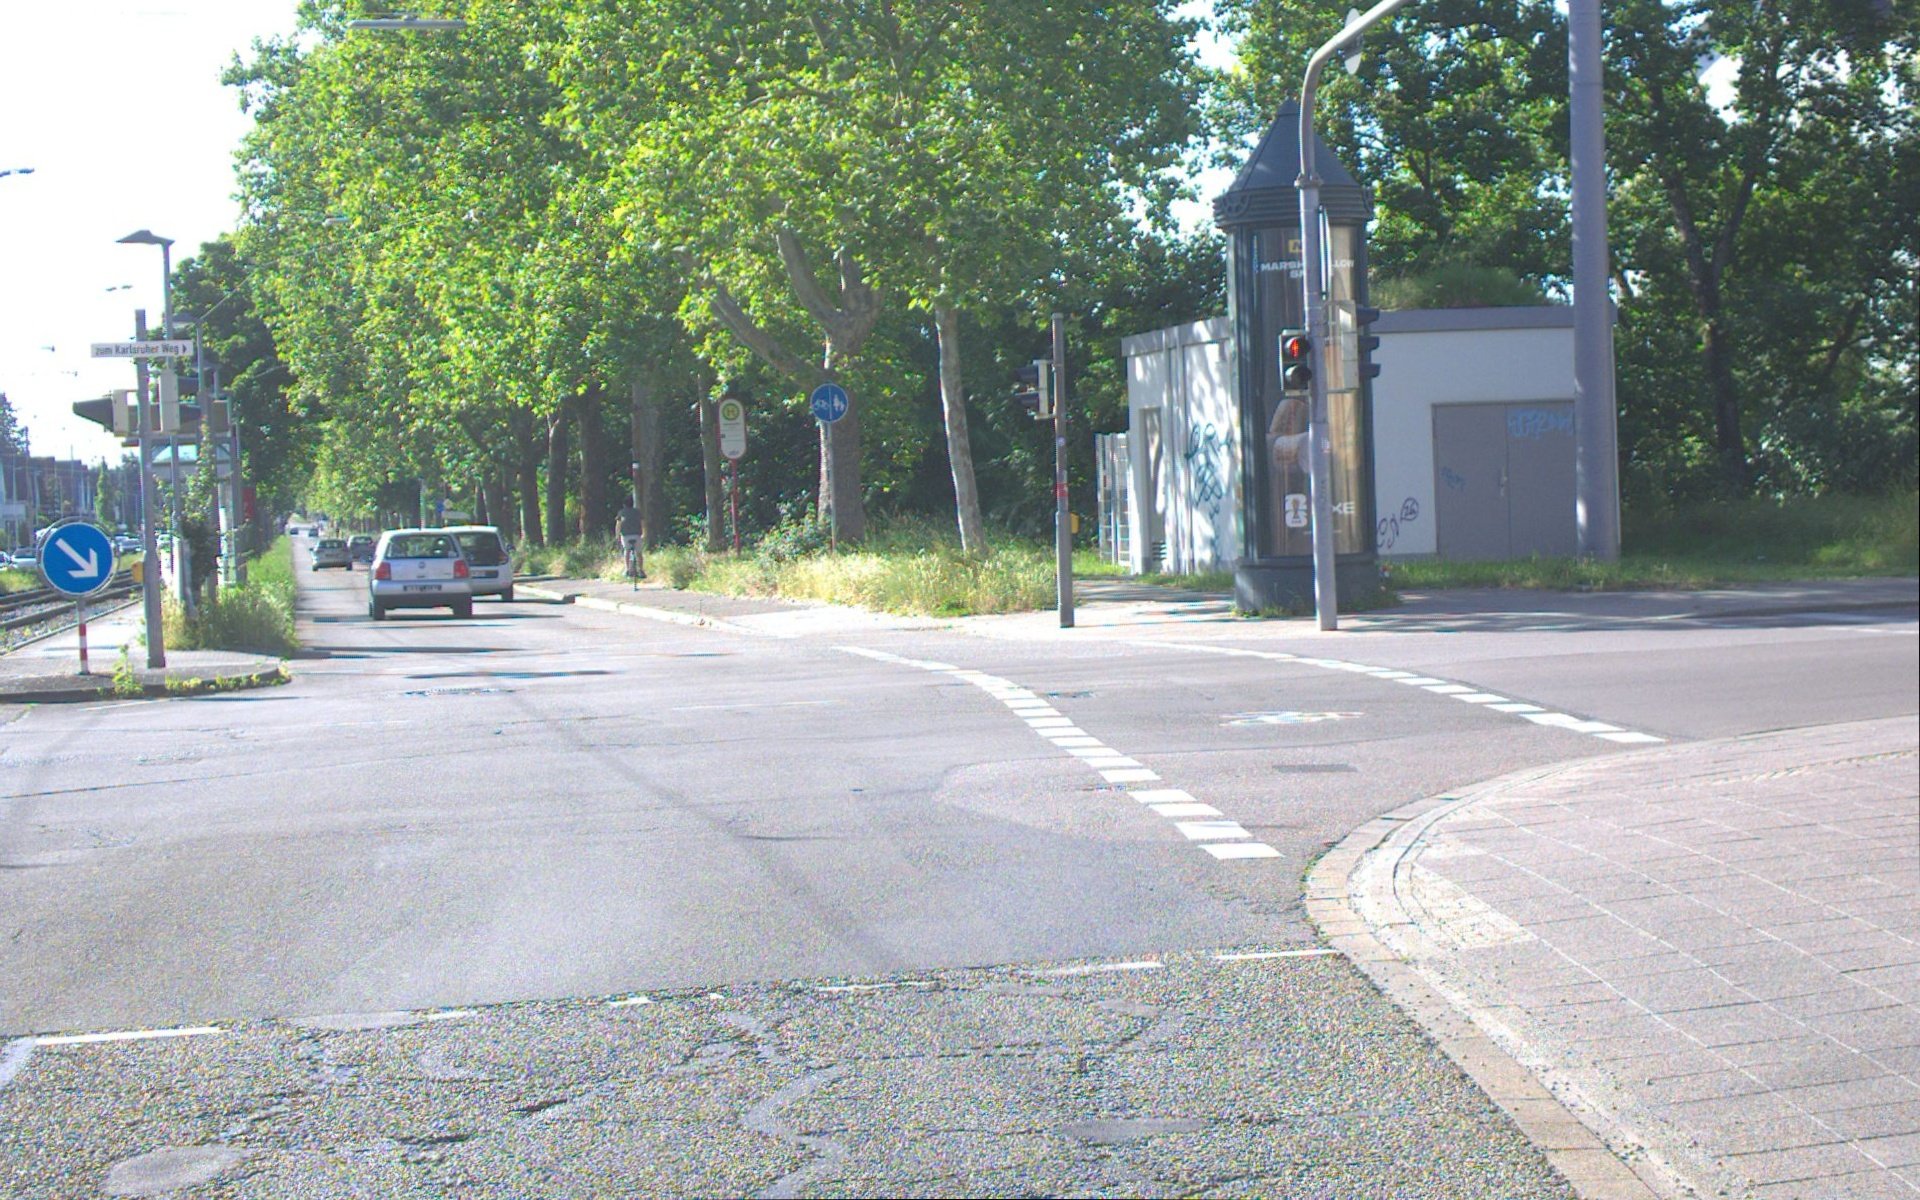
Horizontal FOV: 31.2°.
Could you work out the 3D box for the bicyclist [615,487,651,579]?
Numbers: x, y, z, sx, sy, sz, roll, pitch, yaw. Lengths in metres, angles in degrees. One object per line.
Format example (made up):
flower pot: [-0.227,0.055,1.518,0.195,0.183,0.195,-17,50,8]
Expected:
bicyclist: [-6.401,-1.314,67.297,0.534,1.763,0.713,-3,1,-13]

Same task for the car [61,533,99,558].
car: [-52.986,-3.283,206.989,1.993,1.464,4.378,-2,1,-12]

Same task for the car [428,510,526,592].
car: [-9.887,-1.023,70.160,1.750,1.599,3.751,1,1,-11]

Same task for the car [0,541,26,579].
car: [-40.988,-1.685,146.213,1.920,1.561,4.001,-3,2,-9]

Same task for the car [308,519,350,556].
car: [-28.808,-2.849,156.904,1.750,1.599,3.582,-3,2,-12]

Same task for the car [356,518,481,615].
car: [-8.856,-0.557,56.073,1.867,1.481,3.556,-2,1,-11]

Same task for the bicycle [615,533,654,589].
bicycle: [-6.382,-0.767,67.322,0.536,1.062,1.434,-3,2,-13]
